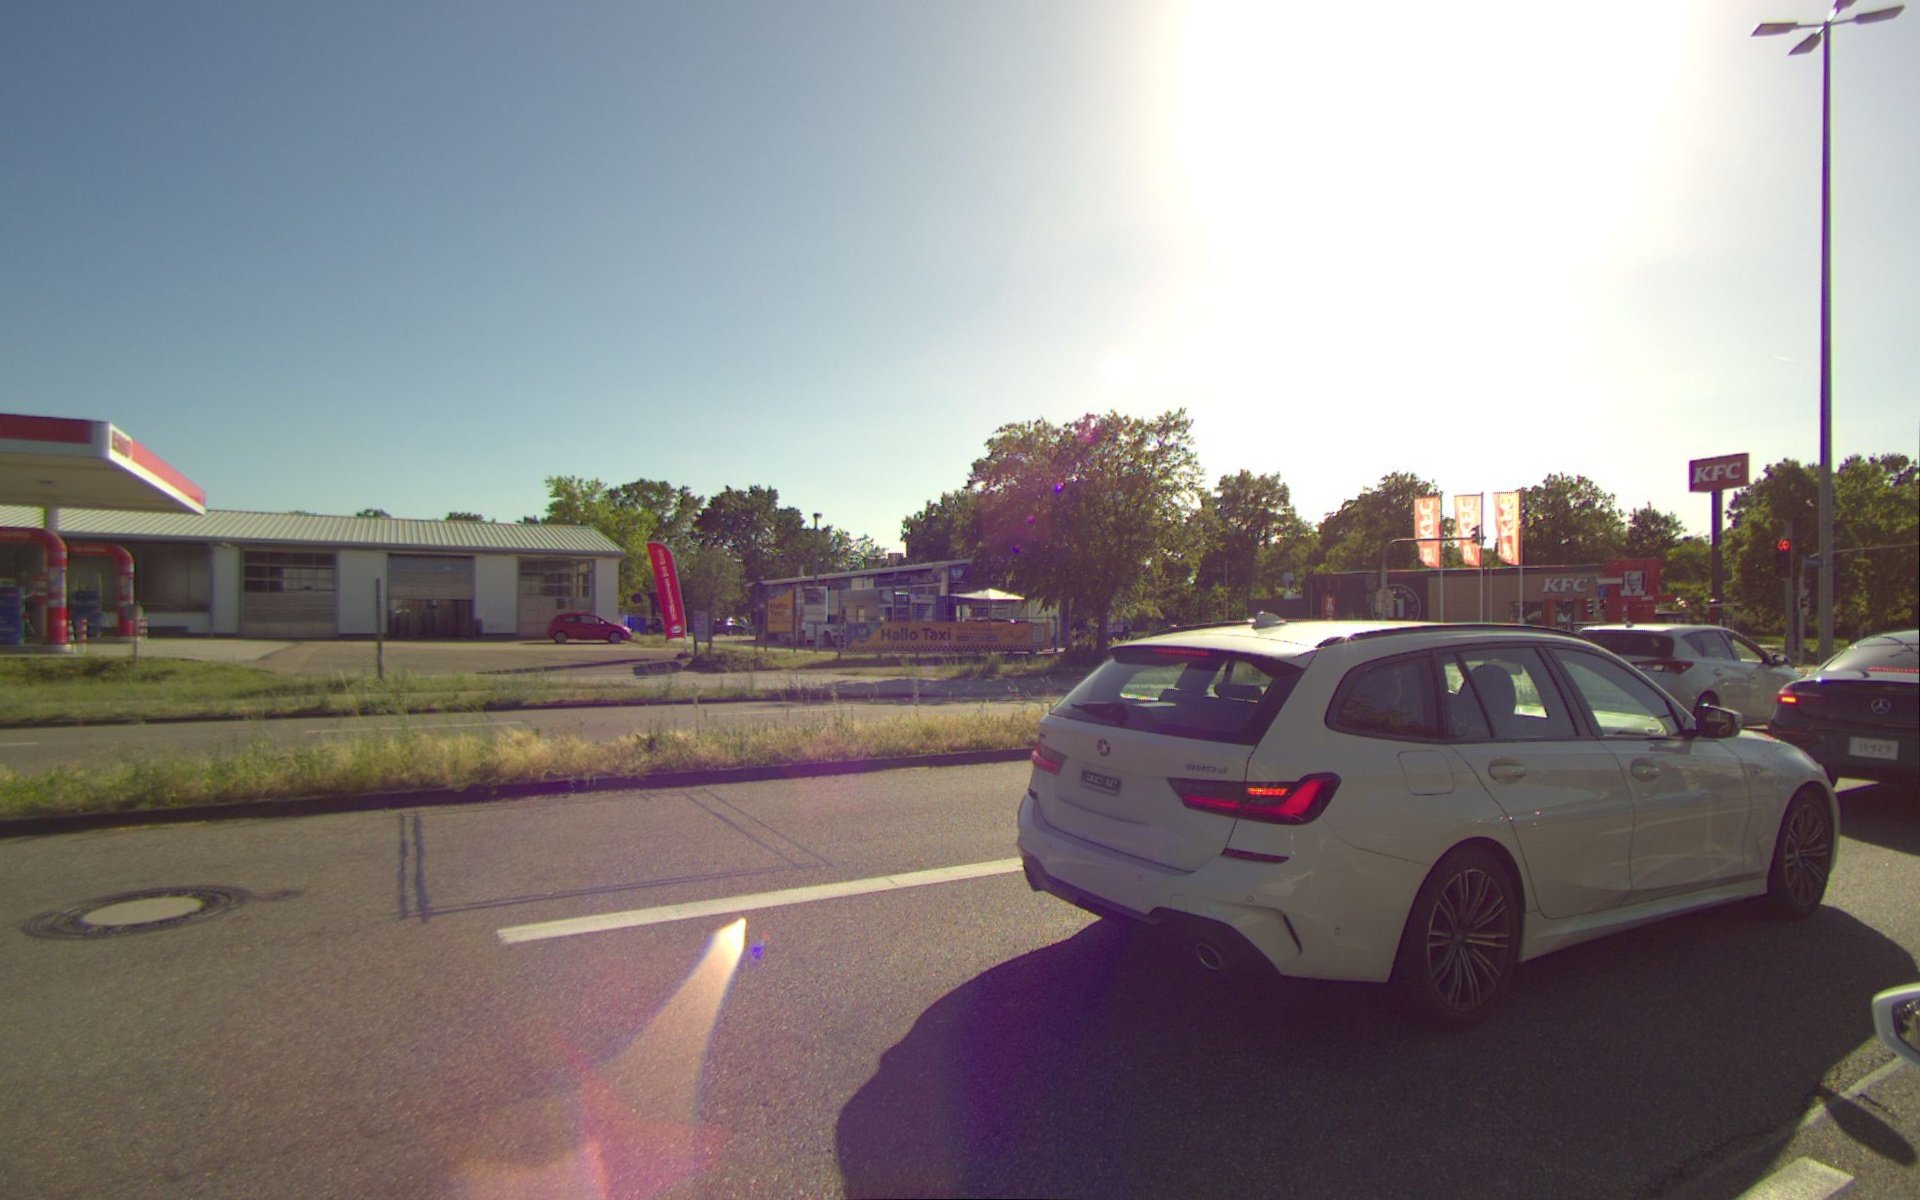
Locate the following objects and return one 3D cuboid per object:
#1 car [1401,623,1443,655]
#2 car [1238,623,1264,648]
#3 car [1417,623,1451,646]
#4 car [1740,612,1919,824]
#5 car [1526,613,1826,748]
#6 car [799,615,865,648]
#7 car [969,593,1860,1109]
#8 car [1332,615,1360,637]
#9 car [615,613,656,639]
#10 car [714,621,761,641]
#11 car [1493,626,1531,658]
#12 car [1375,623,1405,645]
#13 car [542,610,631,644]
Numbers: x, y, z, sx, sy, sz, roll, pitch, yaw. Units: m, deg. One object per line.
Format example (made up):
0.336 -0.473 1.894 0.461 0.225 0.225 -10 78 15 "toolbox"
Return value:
28.322 2.338 61.507 1.964 1.788 4.349 2 0 29 "car"
21.789 2.615 75.140 1.629 1.695 3.945 2 0 18 "car"
33.912 2.450 71.934 1.629 1.491 3.919 2 0 18 "car"
8.756 0.928 8.624 4.425 1.510 1.787 2 0 -31 "car"
9.594 0.999 13.391 4.150 1.510 1.750 2 0 -31 "car"
-6.805 1.637 53.128 1.978 1.584 3.964 2 0 -32 "car"
2.365 0.795 4.861 4.353 1.510 1.776 2 0 -31 "car"
28.269 1.888 73.642 1.629 1.491 3.919 2 0 18 "car"
-19.299 1.536 59.684 1.634 1.383 3.744 2 0 -29 "car"
-19.406 2.708 87.644 3.929 1.634 1.996 2 0 -11 "car"
33.068 2.470 60.189 1.880 1.776 4.349 2 0 29 "car"
31.280 2.440 73.207 1.629 1.491 3.919 2 0 18 "car"
-18.368 1.325 49.391 3.946 1.537 1.772 2 0 -25 "car"
